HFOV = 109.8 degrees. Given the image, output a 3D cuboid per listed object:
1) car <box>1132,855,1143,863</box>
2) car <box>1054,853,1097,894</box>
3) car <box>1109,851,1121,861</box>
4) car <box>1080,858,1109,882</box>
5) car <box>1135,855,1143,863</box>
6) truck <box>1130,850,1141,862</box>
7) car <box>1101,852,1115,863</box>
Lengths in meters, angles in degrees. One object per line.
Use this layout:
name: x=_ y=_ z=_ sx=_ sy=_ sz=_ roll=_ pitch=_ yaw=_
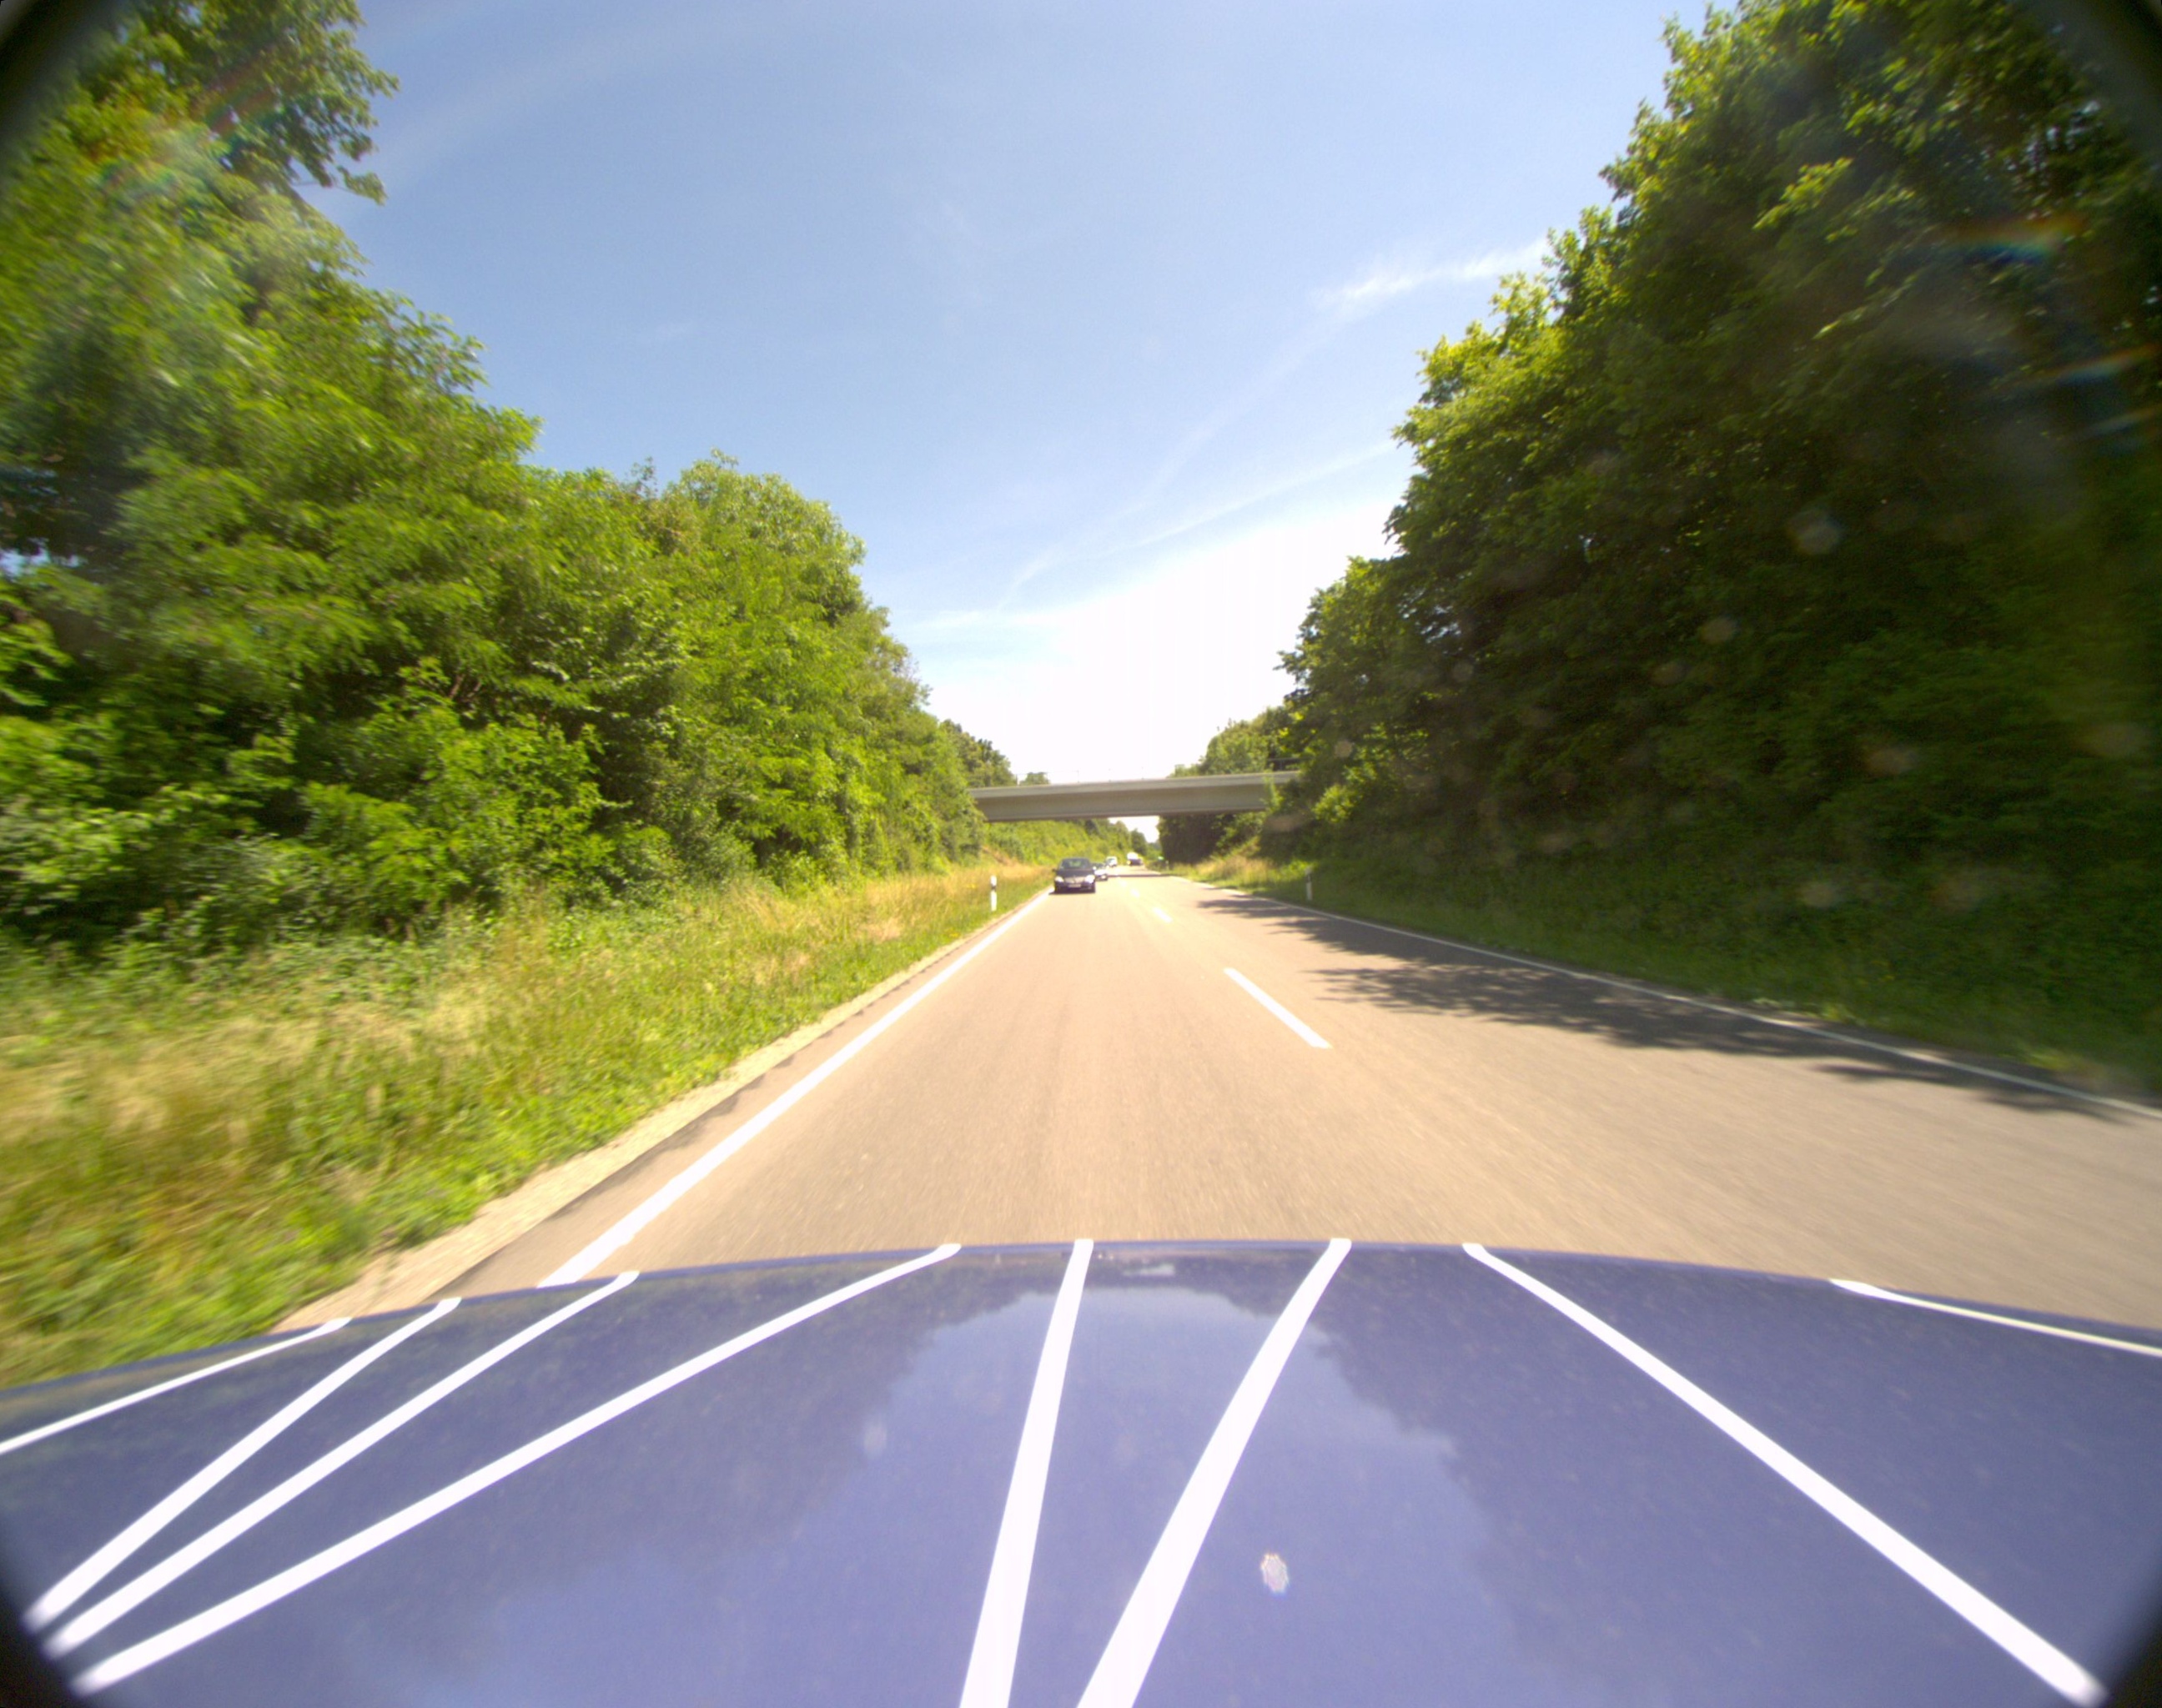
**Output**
car: x=10.975 y=0.933 z=147.341 sx=1.863 sy=1.497 sz=4.587 roll=-1 pitch=0 yaw=2
car: x=-0.177 y=0.826 z=34.070 sx=1.783 sy=1.676 sz=4.779 roll=-1 pitch=0 yaw=1
car: x=6.540 y=0.374 z=145.341 sx=1.998 sy=2.002 sz=4.001 roll=-2 pitch=0 yaw=4
car: x=0.922 y=1.001 z=49.627 sx=1.709 sy=1.444 sz=5.416 roll=-1 pitch=0 yaw=2
car: x=14.367 y=1.234 z=188.678 sx=1.936 sy=1.894 sz=5.328 roll=-1 pitch=0 yaw=3
truck: x=16.878 y=0.582 z=235.729 sx=2.576 sy=3.111 sz=11.203 roll=-4 pitch=1 yaw=6
car: x=4.376 y=0.501 z=123.338 sx=2.045 sy=1.743 sz=4.166 roll=-2 pitch=0 yaw=0
